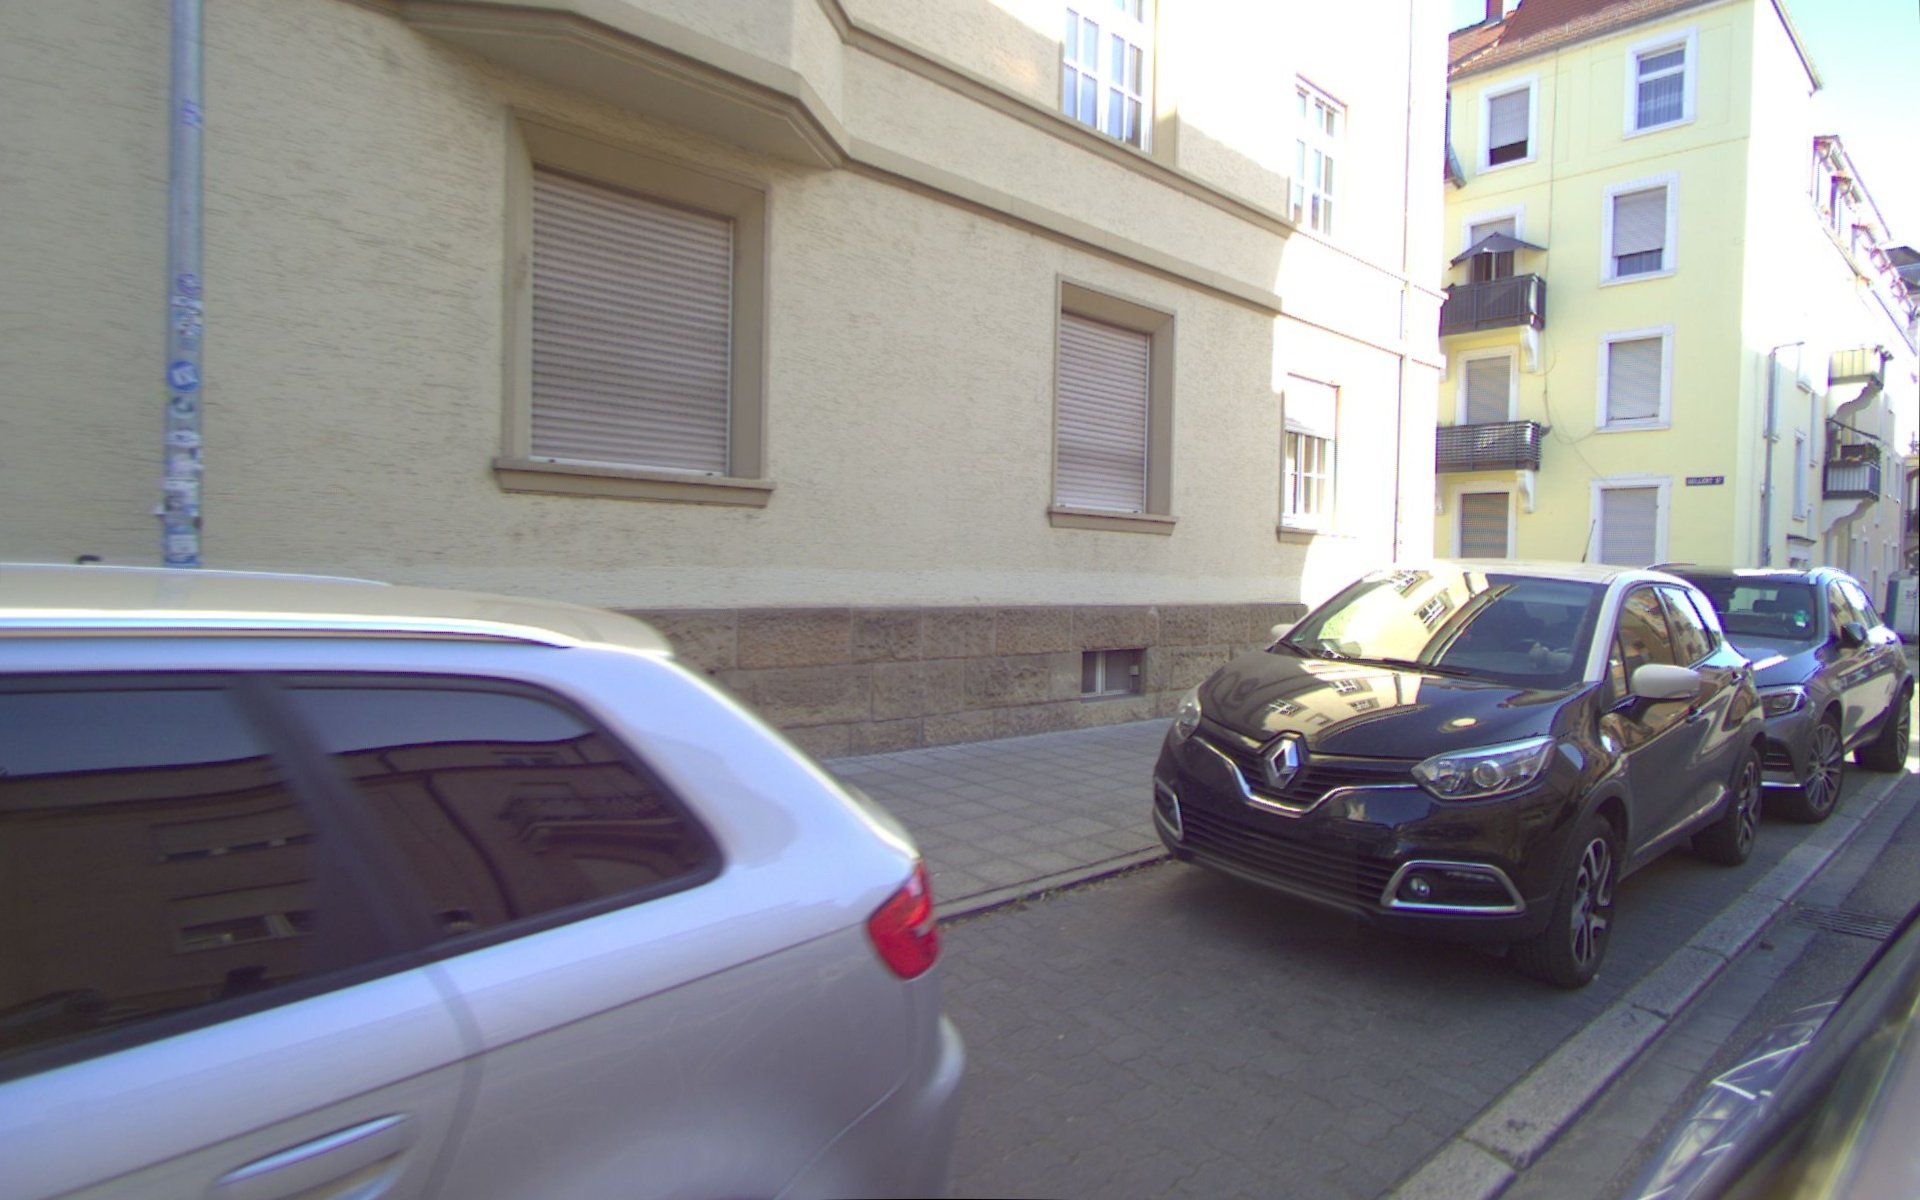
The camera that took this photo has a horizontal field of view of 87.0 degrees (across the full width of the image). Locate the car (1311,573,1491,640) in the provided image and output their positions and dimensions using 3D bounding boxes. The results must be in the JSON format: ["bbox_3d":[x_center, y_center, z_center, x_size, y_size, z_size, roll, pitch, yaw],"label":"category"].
[{"bbox_3d":[10.249,0.123,23.652,3.498,1.397,1.621,3,0,43],"label":"car"}]

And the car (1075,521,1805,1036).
[{"bbox_3d":[2.534,0.500,4.933,3.844,1.565,1.684,0,3,-39],"label":"car"}]

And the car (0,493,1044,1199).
[{"bbox_3d":[-1.923,0.620,0.965,4.023,1.482,1.656,0,2,-41],"label":"car"}]

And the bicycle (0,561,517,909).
[{"bbox_3d":[-3.074,0.457,4.409,0.830,1.216,1.925,2,1,44],"label":"bicycle"}]

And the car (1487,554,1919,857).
[{"bbox_3d":[5.905,0.556,7.690,4.354,1.685,1.791,0,2,-39],"label":"car"}]
